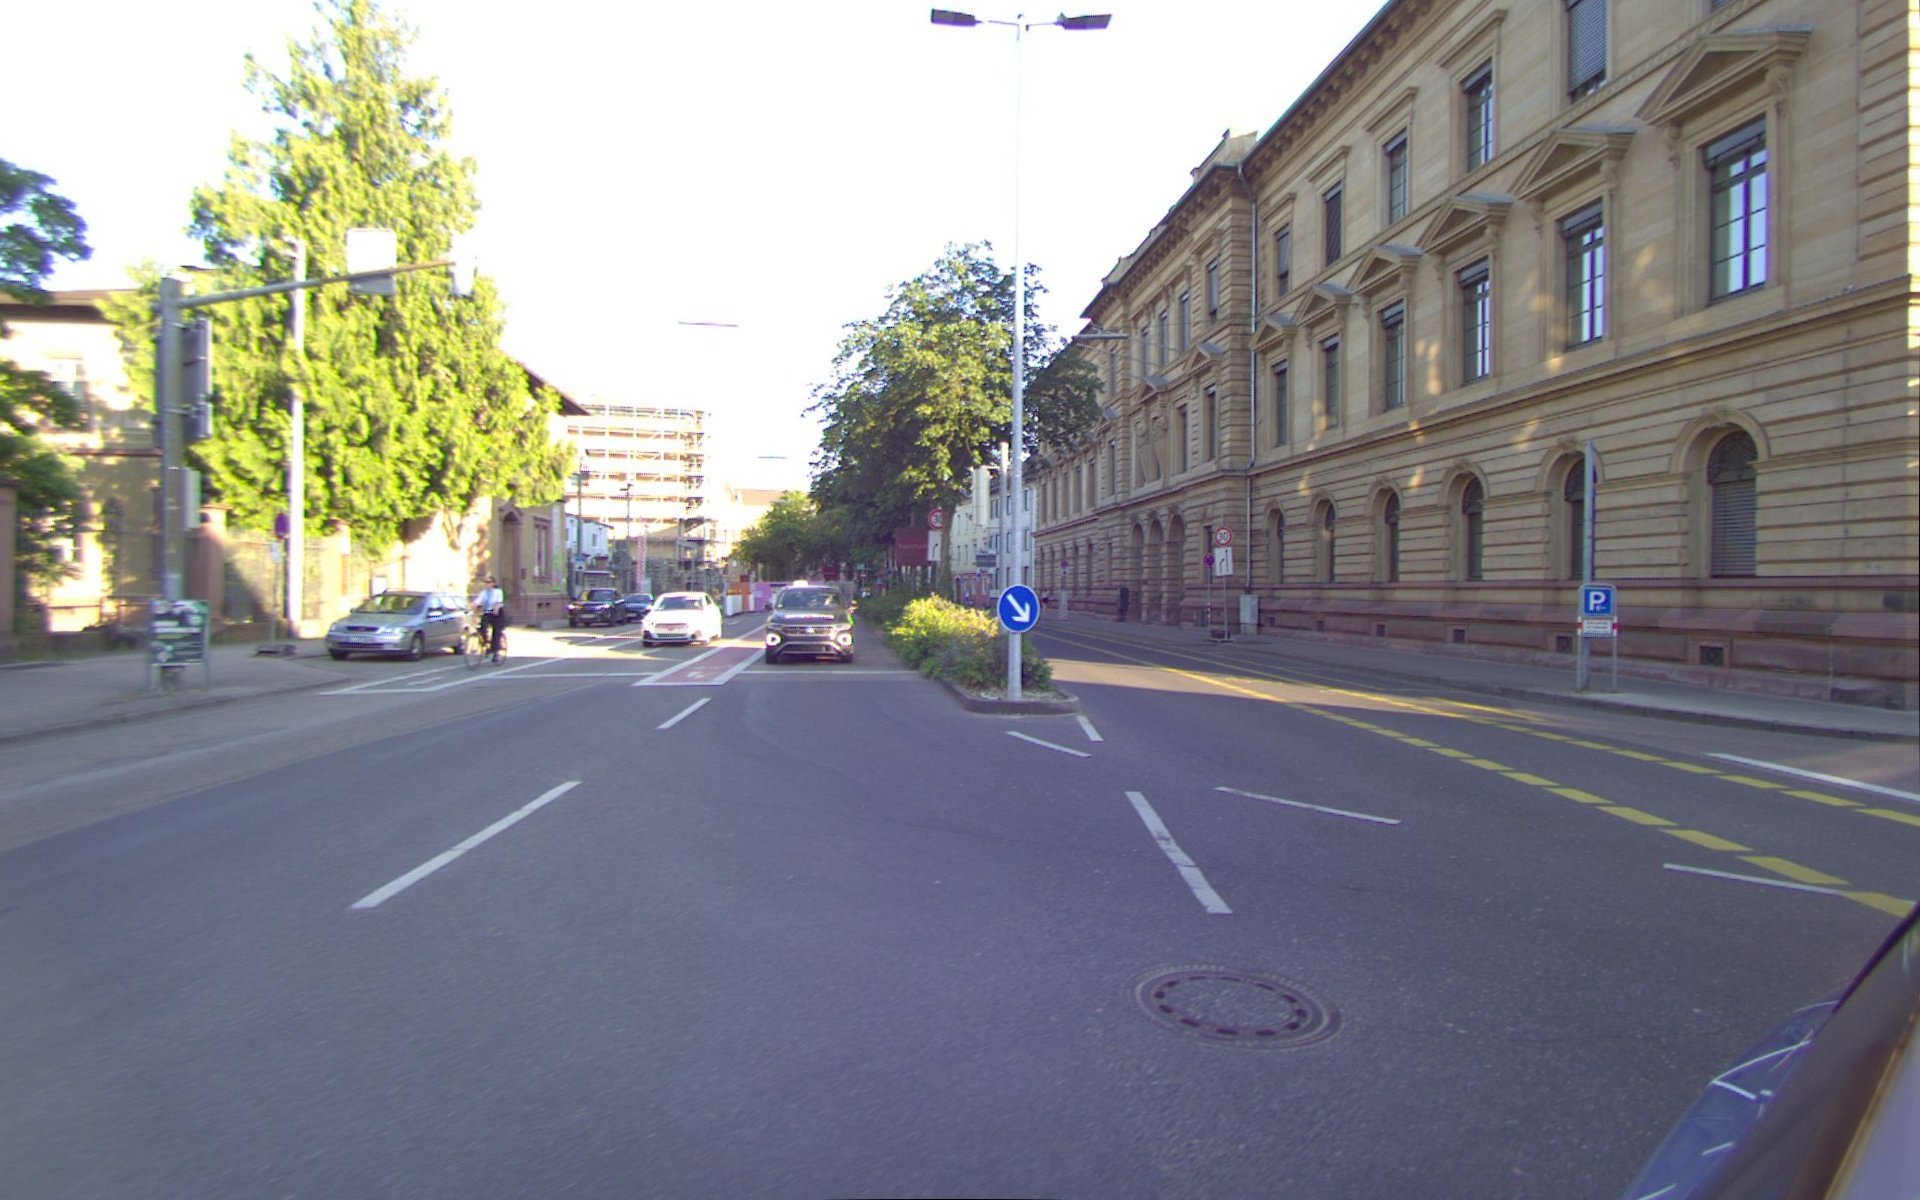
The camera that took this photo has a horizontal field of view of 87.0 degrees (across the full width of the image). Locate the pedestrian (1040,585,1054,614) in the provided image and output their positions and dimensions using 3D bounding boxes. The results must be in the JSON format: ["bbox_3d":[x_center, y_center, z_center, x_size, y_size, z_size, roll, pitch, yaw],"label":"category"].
[{"bbox_3d":[5.619,-0.039,65.590,0.759,1.876,0.813,0,0,-6],"label":"pedestrian"}]

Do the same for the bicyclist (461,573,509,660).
[{"bbox_3d":[-9.338,0.314,19.909,0.654,1.664,0.520,-1,1,1],"label":"bicyclist"}]

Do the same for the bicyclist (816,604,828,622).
[{"bbox_3d":[-9.780,0.916,71.780,0.582,1.238,0.794,0,0,17],"label":"bicyclist"}]

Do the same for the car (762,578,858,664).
[{"bbox_3d":[-3.119,0.366,21.343,1.797,1.633,4.082,0,1,-7],"label":"car"}]

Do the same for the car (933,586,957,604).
[{"bbox_3d":[-1.585,-0.509,105.433,1.681,1.871,3.834,0,1,-14],"label":"car"}]

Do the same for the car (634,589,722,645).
[{"bbox_3d":[-7.702,0.406,27.986,1.797,1.409,4.028,0,1,-7],"label":"car"}]

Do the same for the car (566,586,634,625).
[{"bbox_3d":[-14.744,0.202,41.624,1.797,1.510,4.082,0,1,-7],"label":"car"}]

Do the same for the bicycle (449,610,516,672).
[{"bbox_3d":[-9.306,0.777,19.790,0.487,1.114,1.667,-1,1,1],"label":"bicycle"}]

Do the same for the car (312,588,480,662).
[{"bbox_3d":[-12.162,0.471,22.147,1.680,1.463,4.203,0,1,-5],"label":"car"}]

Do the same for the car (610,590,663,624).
[{"bbox_3d":[-15.113,0.289,47.420,1.654,1.510,4.082,0,1,-7],"label":"car"}]
